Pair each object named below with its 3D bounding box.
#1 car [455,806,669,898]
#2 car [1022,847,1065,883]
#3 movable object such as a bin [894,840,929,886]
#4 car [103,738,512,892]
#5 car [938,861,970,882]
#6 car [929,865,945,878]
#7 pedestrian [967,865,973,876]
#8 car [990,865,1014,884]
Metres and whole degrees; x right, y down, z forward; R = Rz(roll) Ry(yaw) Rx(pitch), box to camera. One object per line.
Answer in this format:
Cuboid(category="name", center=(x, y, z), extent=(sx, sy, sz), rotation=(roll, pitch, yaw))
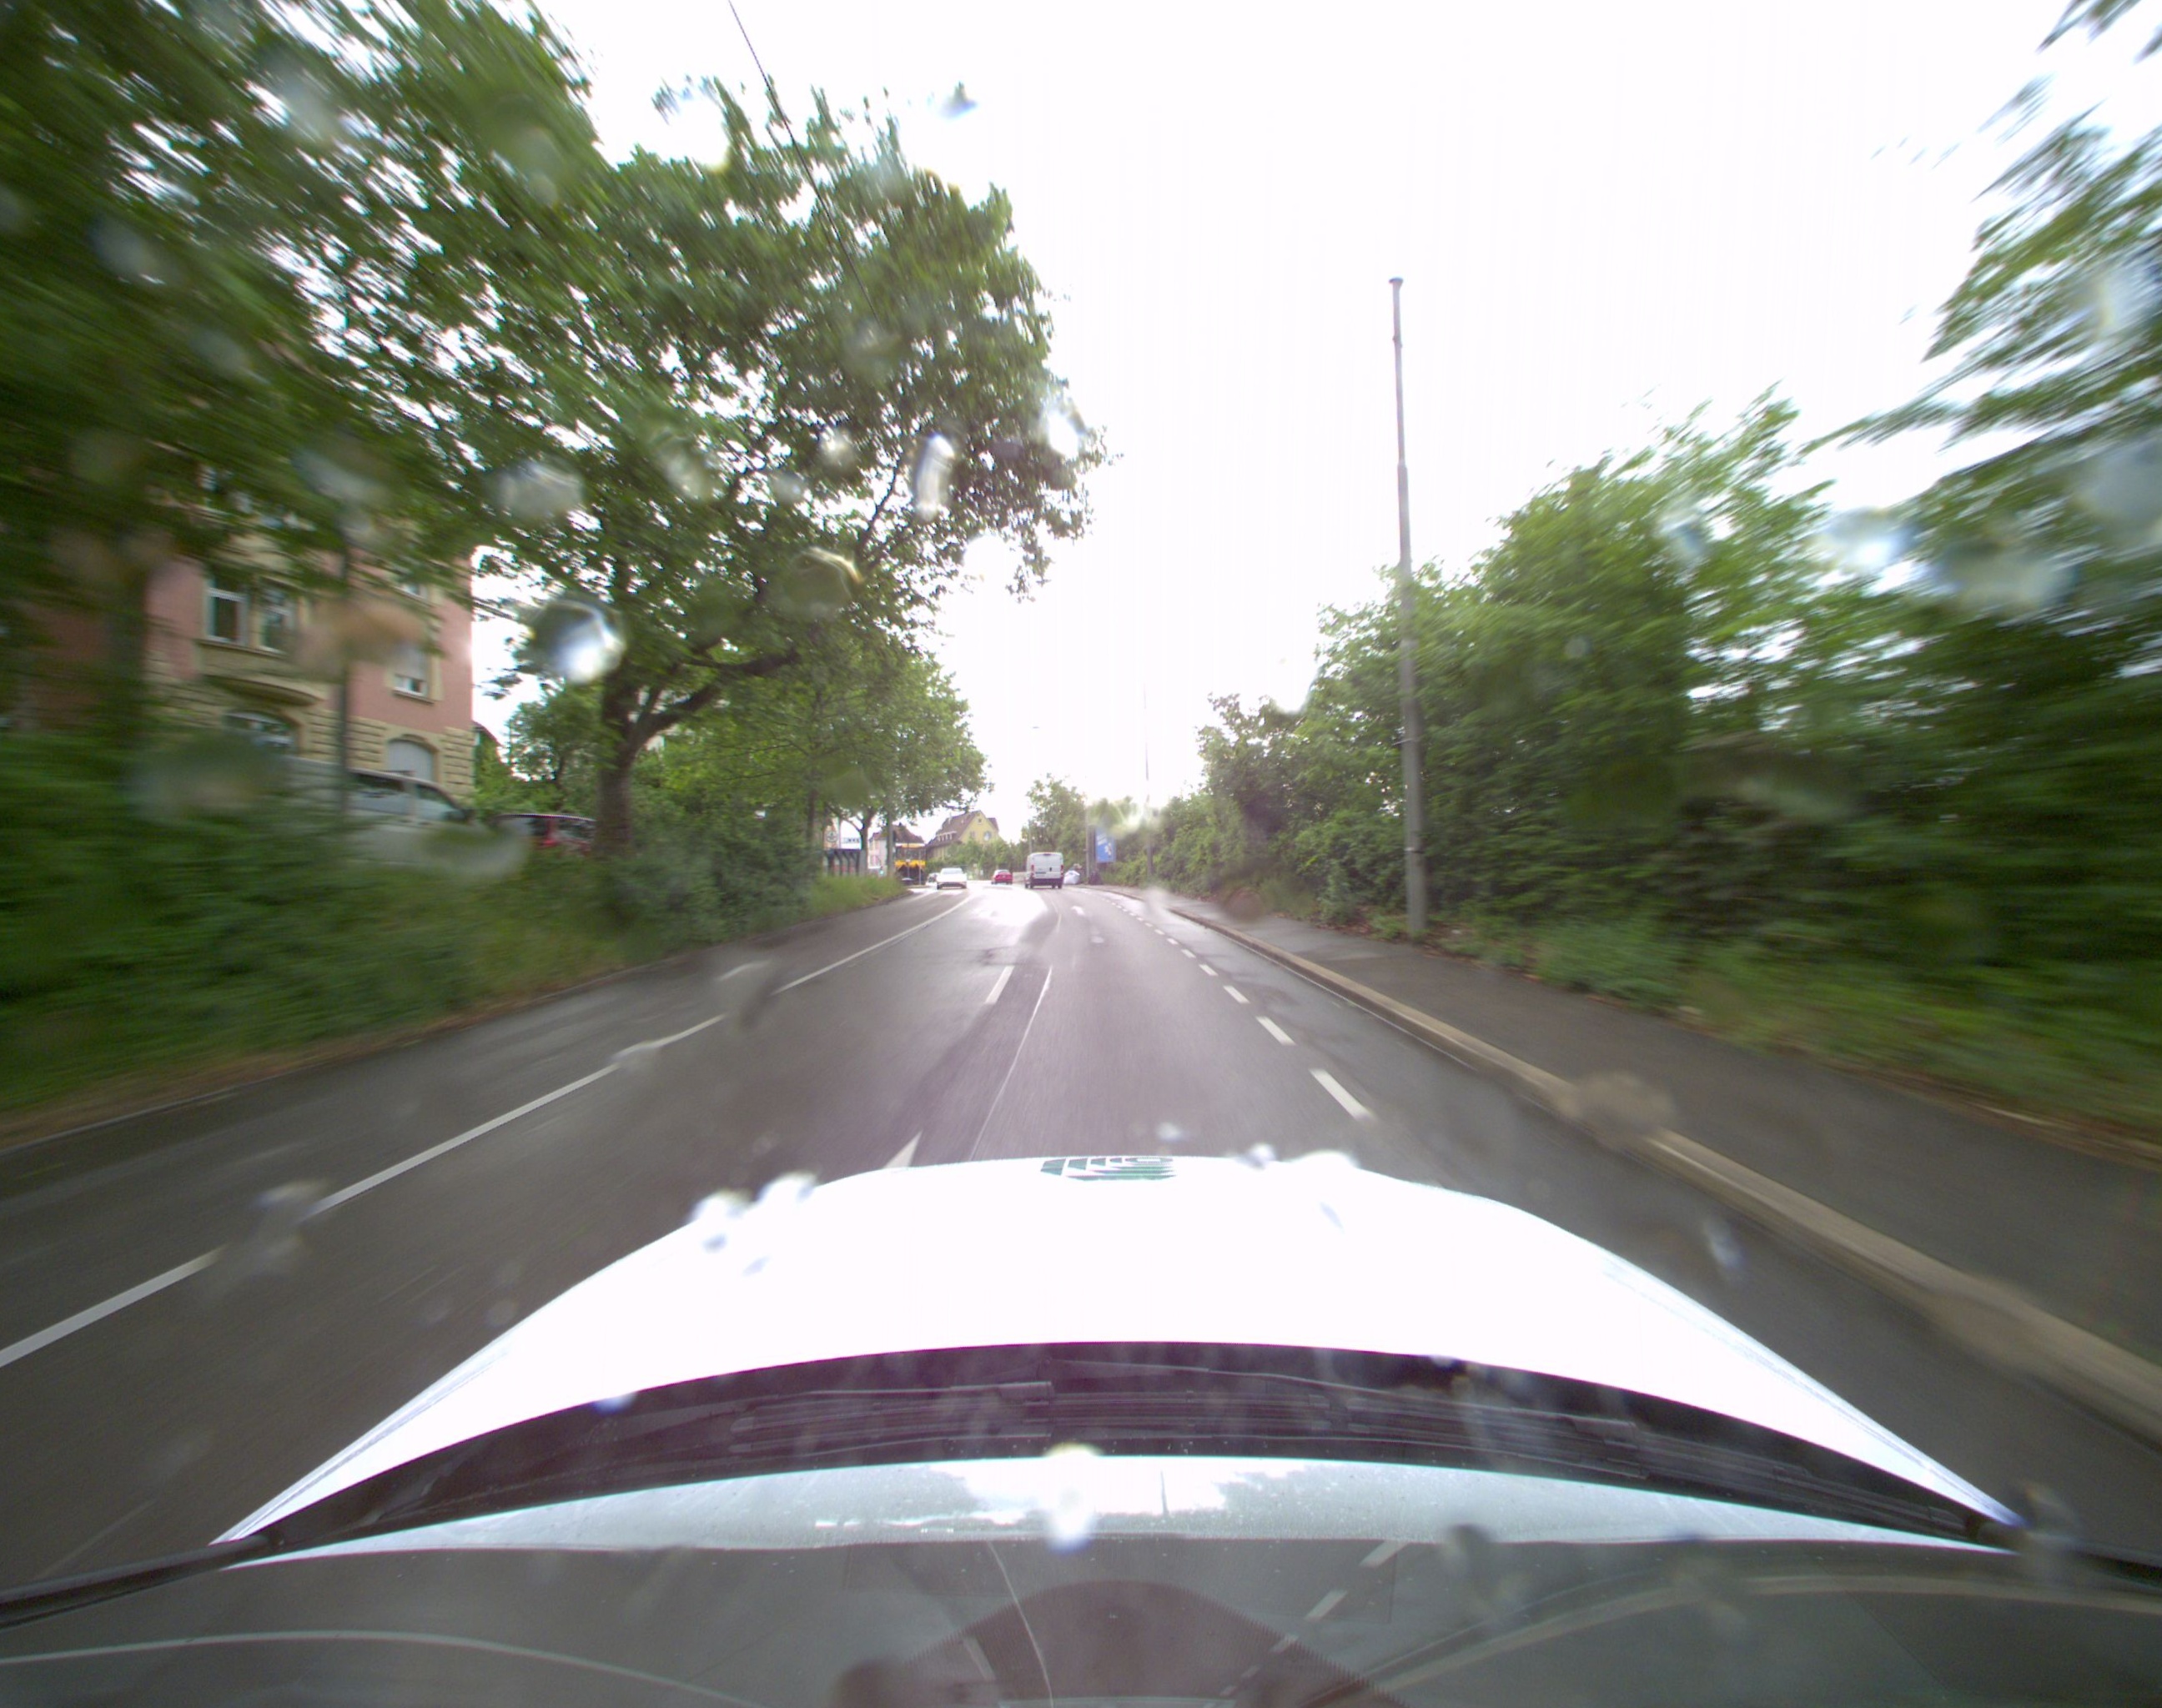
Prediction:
Cuboid(category="car", center=(-11.590, -0.050, 18.668), extent=(1.823, 1.843, 4.629), rotation=(0, 0, 2))
Cuboid(category="car", center=(-2.454, 0.682, 52.361), extent=(2.237, 2.213, 4.698), rotation=(0, 0, -10))
Cuboid(category="movable object such as a bin", center=(-14.734, 0.752, 71.281), extent=(2.775, 3.855, 5.967), rotation=(0, 0, -10))
Cuboid(category="car", center=(-11.732, -0.526, 12.956), extent=(1.986, 2.013, 4.629), rotation=(0, 0, 2))
Cuboid(category="car", center=(-8.663, 1.155, 55.446), extent=(2.071, 1.353, 4.697), rotation=(0, 0, -10))
Cuboid(category="car", center=(-21.635, 2.655, 122.451), extent=(2.239, 1.804, 4.695), rotation=(0, 0, -12))
Cuboid(category="pedestrian", center=(-17.377, 2.577, 127.562), extent=(0.906, 1.731, 0.651), rotation=(0, 0, -12))
Cuboid(category="car", center=(-7.841, 1.992, 80.638), extent=(2.236, 1.656, 4.700), rotation=(0, 0, -8))
